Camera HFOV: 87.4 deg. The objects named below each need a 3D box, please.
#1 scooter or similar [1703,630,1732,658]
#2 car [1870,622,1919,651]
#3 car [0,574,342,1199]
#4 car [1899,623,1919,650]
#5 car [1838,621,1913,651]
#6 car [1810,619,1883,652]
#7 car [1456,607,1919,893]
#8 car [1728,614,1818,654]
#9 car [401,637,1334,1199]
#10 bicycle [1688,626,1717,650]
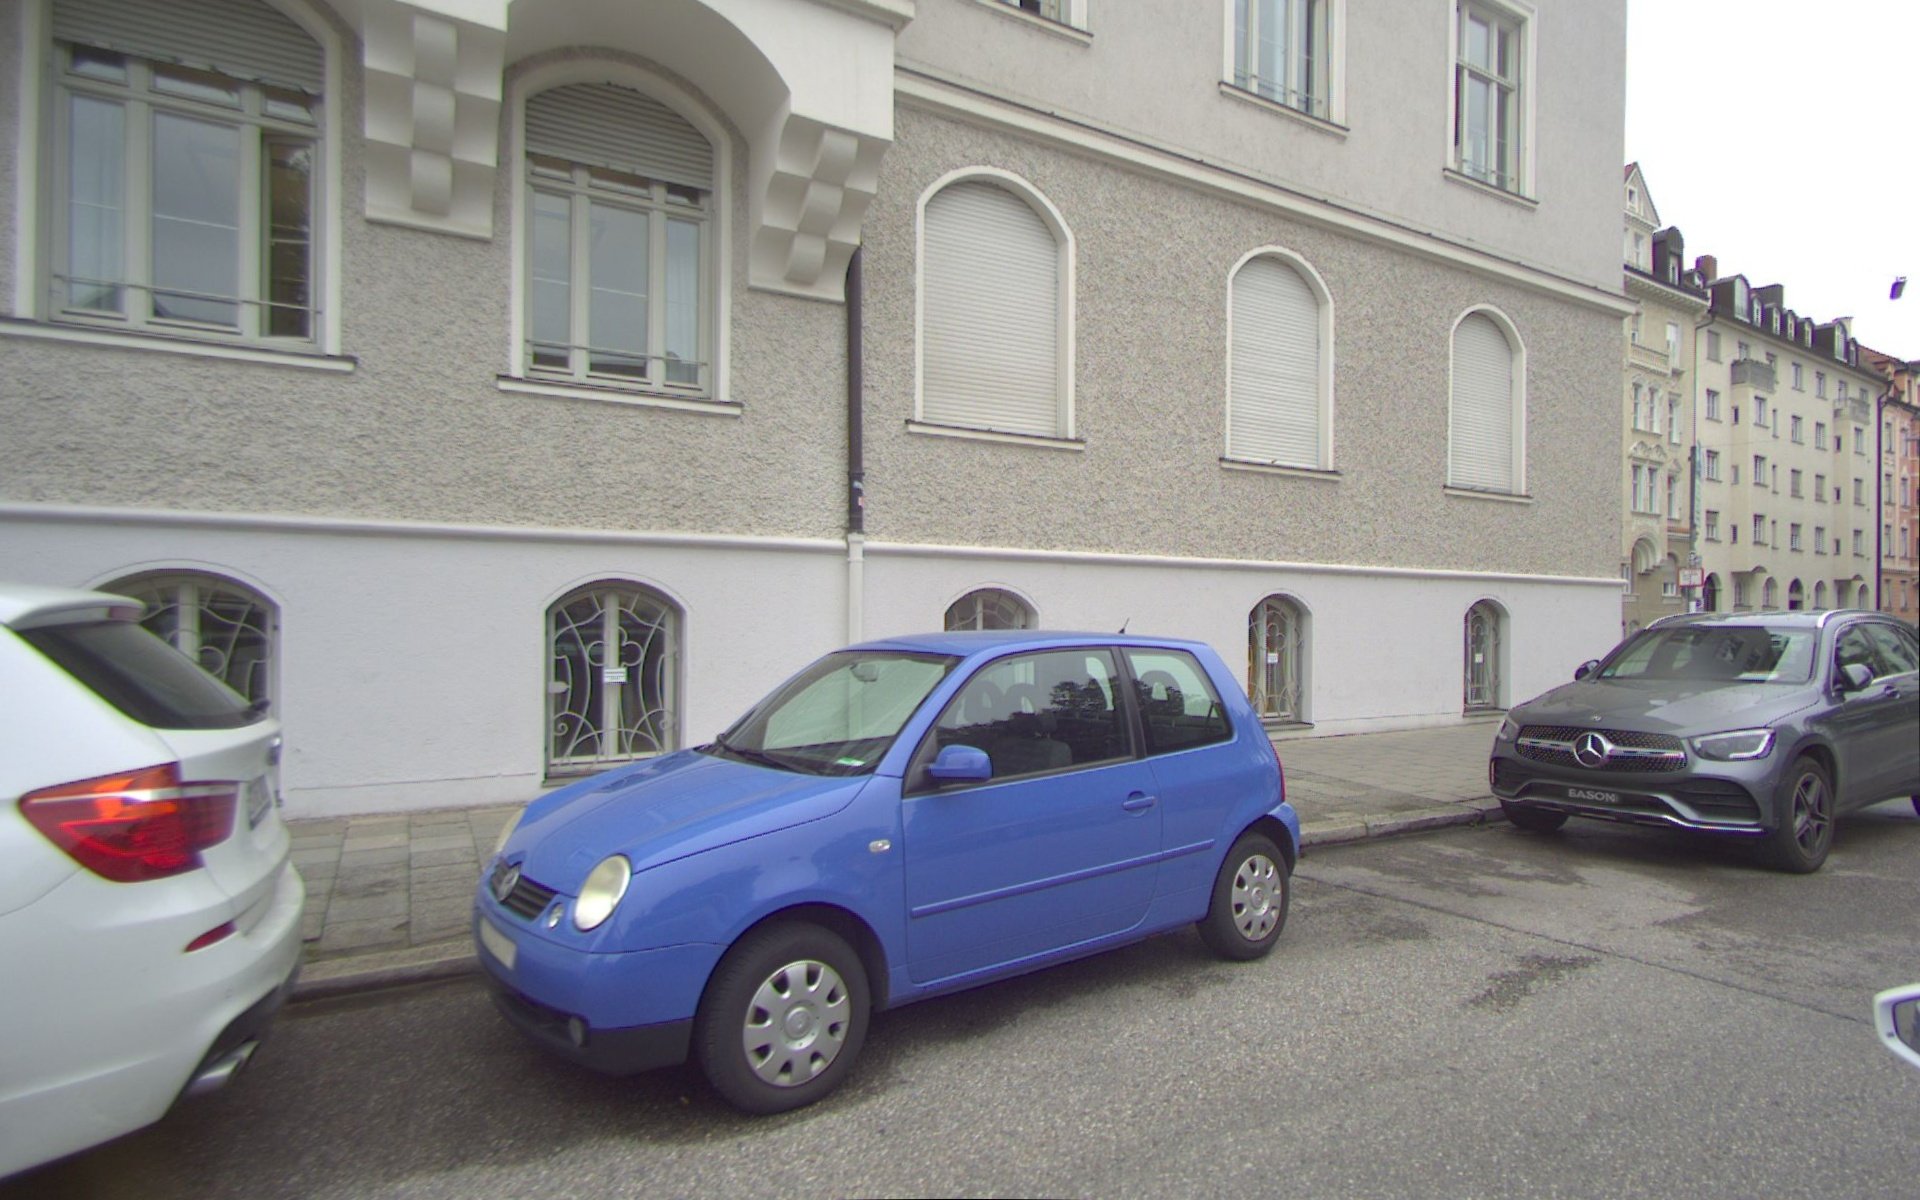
[{"bbox_3d":[33.559,1.931,44.521,0.458,1.209,1.216,1,0,6],"label":"scooter or similar"},{"bbox_3d":[55.001,2.092,58.411,4.359,1.602,1.965,1,0,-32],"label":"car"},{"bbox_3d":[-3.893,0.758,2.019,4.444,1.623,1.738,1,-2,-31],"label":"car"},{"bbox_3d":[59.176,2.202,61.061,4.358,1.602,1.965,1,0,-32],"label":"car"},{"bbox_3d":[50.714,1.975,55.628,4.359,1.602,1.965,1,0,-32],"label":"car"},{"bbox_3d":[46.712,1.849,52.916,4.668,1.637,1.961,1,0,-37],"label":"car"},{"bbox_3d":[5.919,0.914,7.618,4.444,1.623,1.738,1,-2,-31],"label":"car"},{"bbox_3d":[38.156,1.566,47.112,4.790,1.723,1.963,1,0,-34],"label":"car"},{"bbox_3d":[-0.196,0.881,4.276,3.629,1.433,1.680,1,-2,-37],"label":"car"},{"bbox_3d":[35.065,1.783,47.419,1.811,1.063,0.559,1,-1,-34],"label":"bicycle"}]
